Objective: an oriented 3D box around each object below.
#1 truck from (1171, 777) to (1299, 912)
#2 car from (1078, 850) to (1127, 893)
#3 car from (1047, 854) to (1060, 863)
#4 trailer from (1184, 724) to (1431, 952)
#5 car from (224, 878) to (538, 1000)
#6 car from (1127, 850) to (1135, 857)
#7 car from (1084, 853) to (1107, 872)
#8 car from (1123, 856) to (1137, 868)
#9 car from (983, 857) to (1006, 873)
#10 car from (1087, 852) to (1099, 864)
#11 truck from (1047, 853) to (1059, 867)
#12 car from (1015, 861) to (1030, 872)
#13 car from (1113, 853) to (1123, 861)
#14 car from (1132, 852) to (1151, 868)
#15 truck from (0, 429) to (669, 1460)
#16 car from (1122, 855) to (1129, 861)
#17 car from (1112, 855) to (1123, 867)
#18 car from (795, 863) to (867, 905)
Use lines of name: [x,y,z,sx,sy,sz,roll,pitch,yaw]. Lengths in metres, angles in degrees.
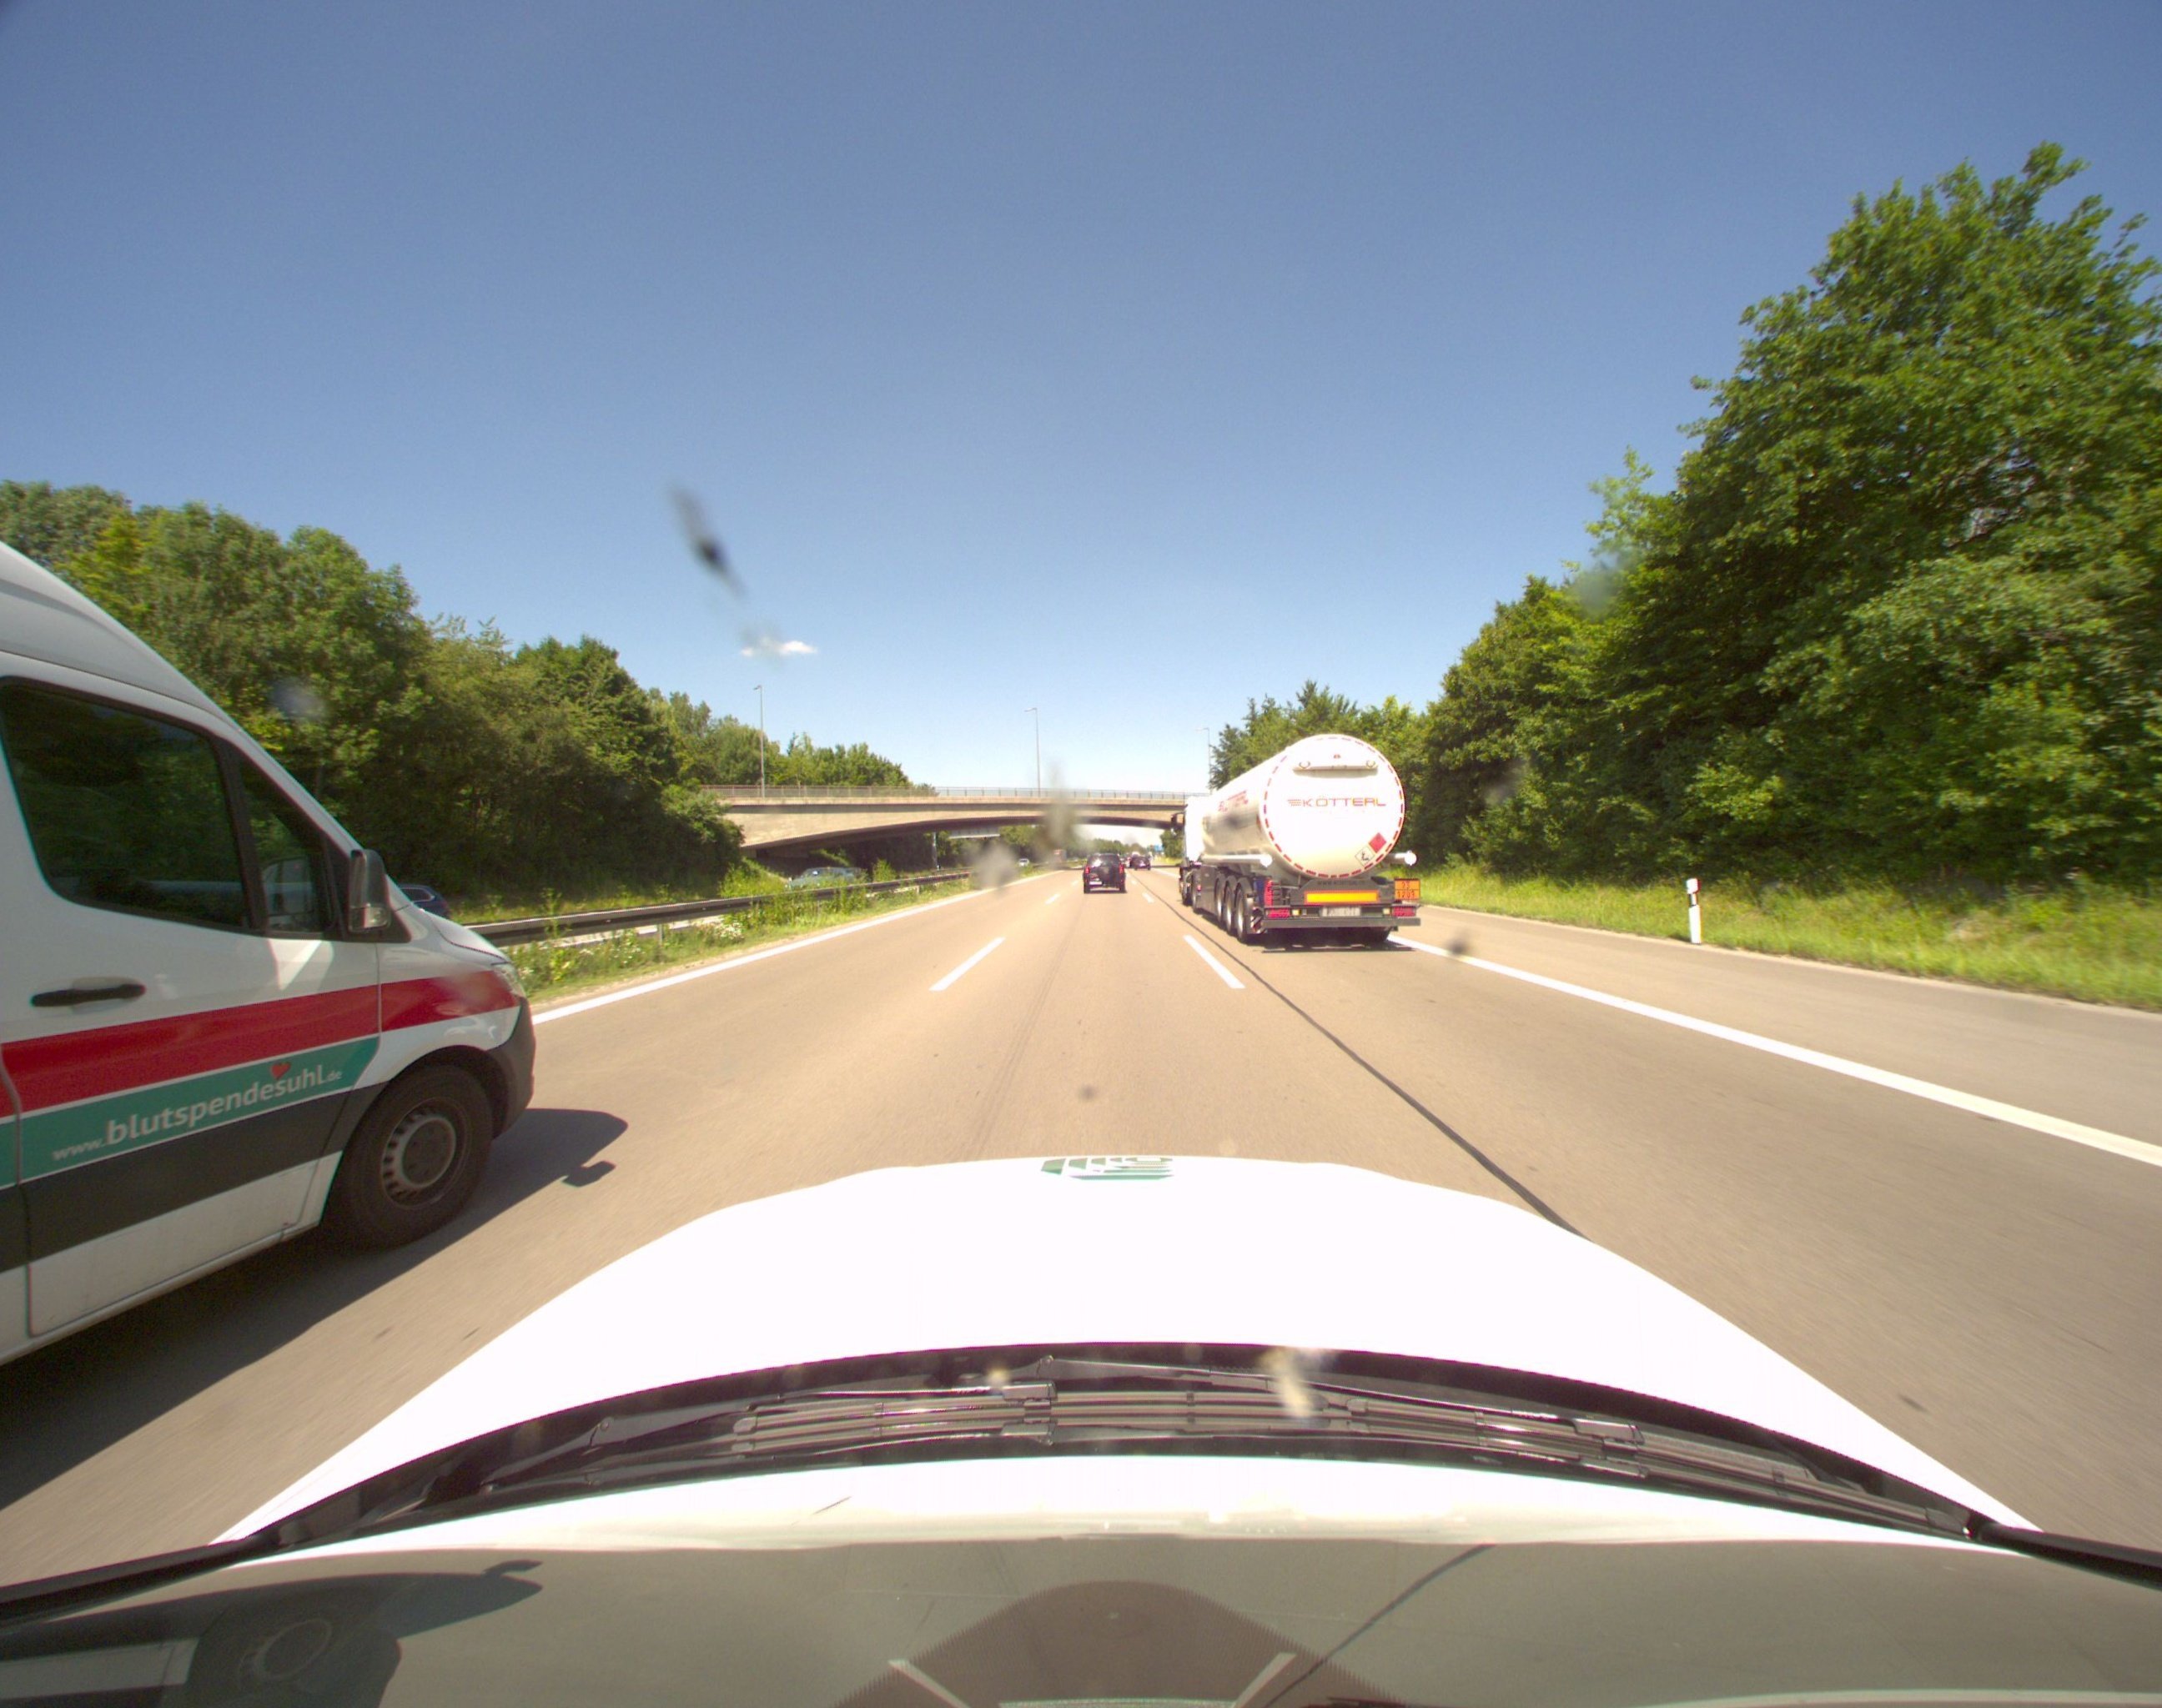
truck: [4.262,-0.222,23.890,2.628,3.375,6.489,-1,0,1]
car: [0.892,0.716,34.889,1.900,1.665,4.000,-2,0,0]
car: [-5.075,0.854,150.761,1.852,1.527,4.753,-2,0,2]
trailer: [4.107,-0.217,17.833,2.638,3.390,11.156,-1,0,2]
car: [-11.928,1.344,14.322,1.986,1.693,4.001,-1,0,1]
car: [13.384,-0.191,217.068,1.806,1.746,3.999,-2,0,0]
car: [1.418,0.779,77.762,1.985,1.706,4.339,-3,-1,3]
car: [6.603,1.098,109.858,1.835,1.611,4.002,-2,-1,2]
car: [-9.325,1.175,88.213,1.789,1.666,4.132,-2,0,3]
car: [2.191,0.751,150.031,1.986,2.013,4.952,-3,-1,2]
truck: [-8.490,1.821,246.303,2.773,4.060,6.214,-4,0,3]
car: [-9.574,2.039,133.177,1.892,1.641,4.001,-2,-1,2]
car: [8.657,0.674,190.904,1.986,1.750,4.206,-2,0,1]
car: [6.718,0.704,90.679,1.985,1.684,4.003,-2,-1,3]
truck: [-3.673,0.224,1.694,1.986,2.542,6.696,0,0,2]
car: [13.802,1.124,253.264,1.806,1.746,4.001,-2,0,1]
car: [6.896,1.329,156.017,1.986,2.013,4.770,-2,0,2]
car: [-11.188,1.307,36.748,1.865,1.693,4.001,-1,0,1]
